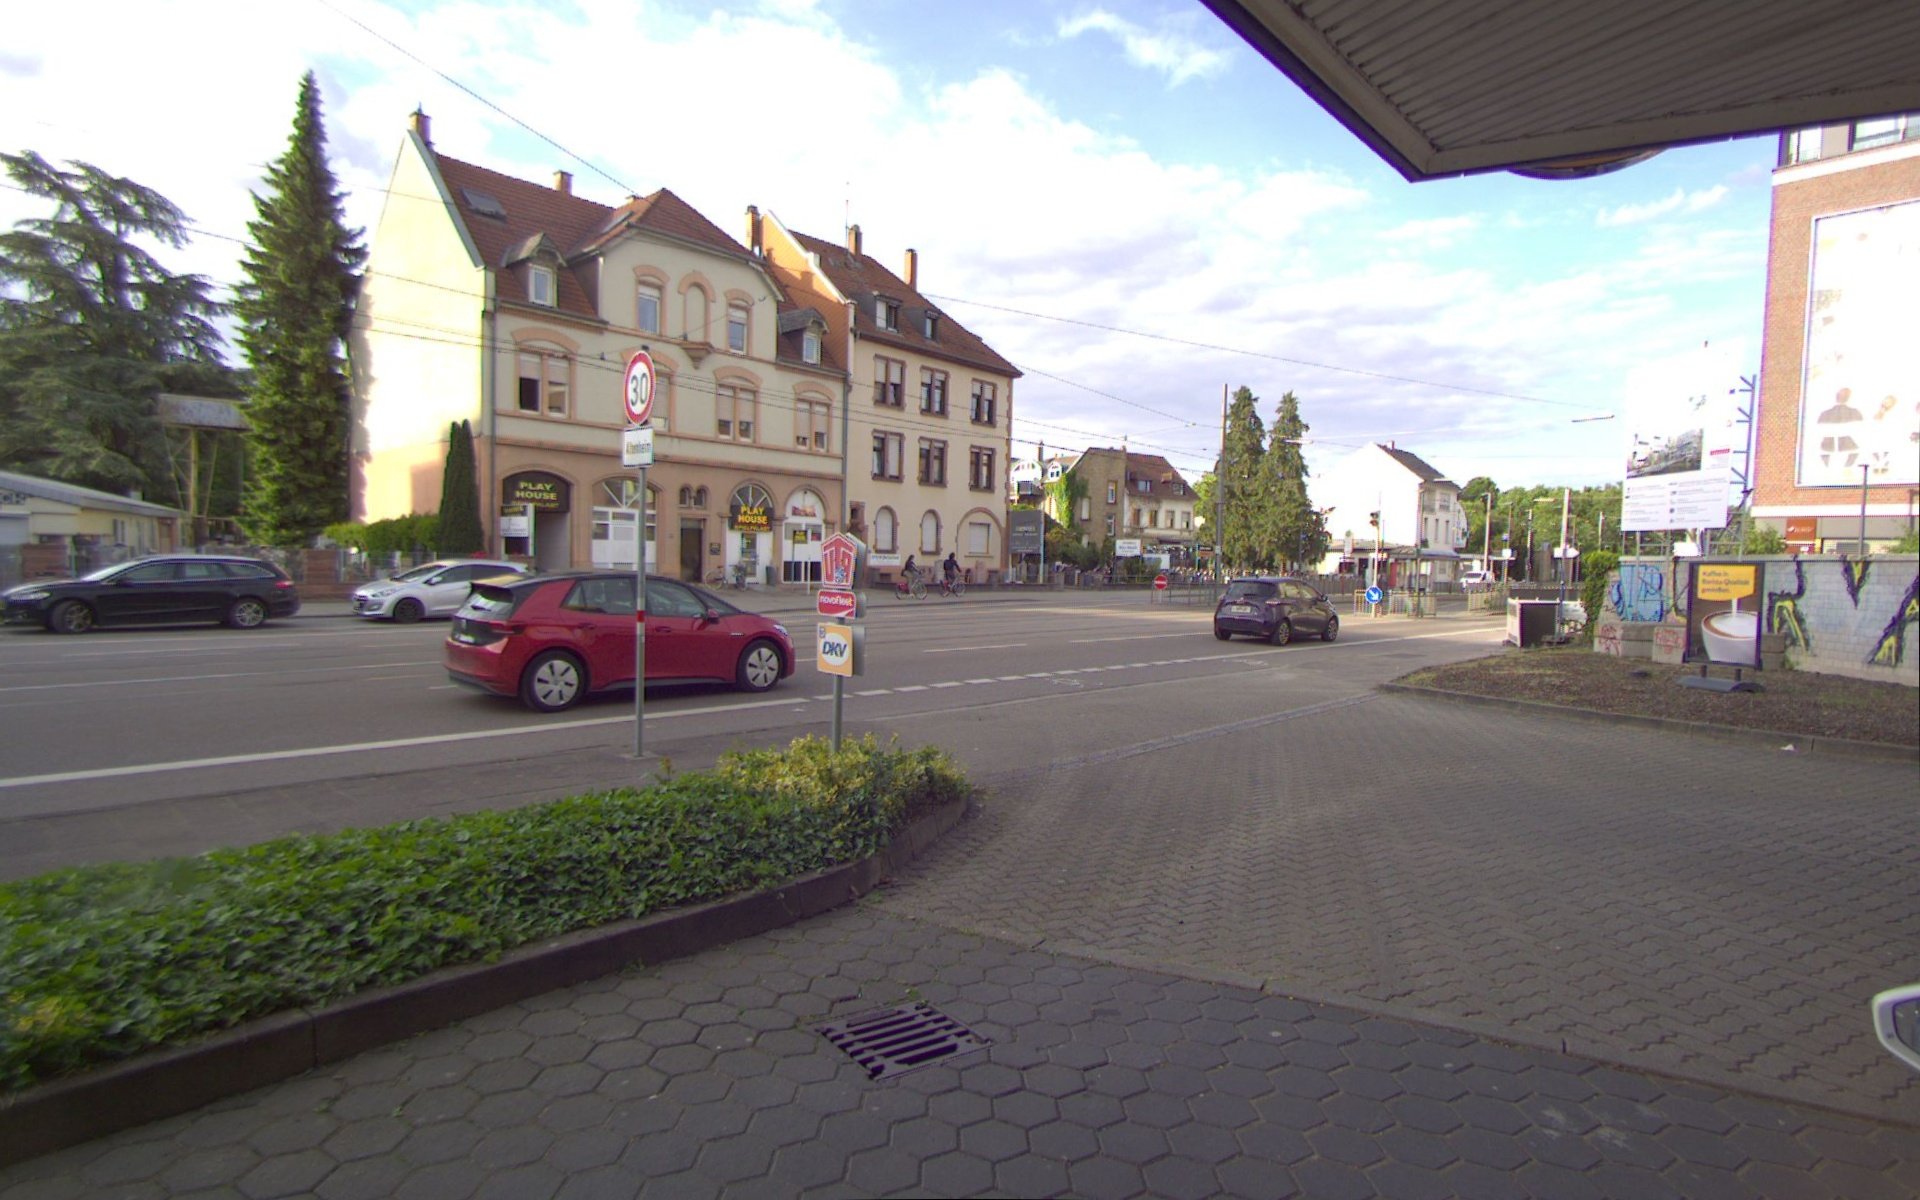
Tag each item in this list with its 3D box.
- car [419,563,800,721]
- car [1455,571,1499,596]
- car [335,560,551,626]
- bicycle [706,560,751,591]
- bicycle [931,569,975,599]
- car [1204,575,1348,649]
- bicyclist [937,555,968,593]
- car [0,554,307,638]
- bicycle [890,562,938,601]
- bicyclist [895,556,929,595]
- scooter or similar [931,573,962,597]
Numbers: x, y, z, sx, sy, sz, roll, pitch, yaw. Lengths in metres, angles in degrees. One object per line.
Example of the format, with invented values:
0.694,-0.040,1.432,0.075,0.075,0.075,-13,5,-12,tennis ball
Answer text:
-4.175,0.403,12.435,1.745,1.564,4.107,5,4,43,car
43.560,-1.385,84.633,4.380,1.915,1.943,0,3,-44,car
-13.001,-0.243,25.476,1.970,1.495,4.467,3,3,40,car
-9.143,-0.951,39.721,0.508,1.189,1.809,4,2,40,bicycle
-0.294,-0.716,43.876,0.833,1.219,1.897,8,6,38,bicycle
7.716,0.222,24.348,1.707,1.564,3.976,5,4,43,car
-0.329,-1.139,43.756,0.833,1.579,0.960,8,6,39,bicyclist
-16.569,-0.145,20.744,1.970,1.516,4.801,3,3,40,car
-1.849,-0.762,40.681,0.776,1.512,1.983,6,5,38,bicycle
-1.932,-0.986,40.533,0.776,1.512,1.091,6,5,38,bicyclist
-0.598,-0.684,45.148,0.488,1.015,1.592,5,5,39,scooter or similar
